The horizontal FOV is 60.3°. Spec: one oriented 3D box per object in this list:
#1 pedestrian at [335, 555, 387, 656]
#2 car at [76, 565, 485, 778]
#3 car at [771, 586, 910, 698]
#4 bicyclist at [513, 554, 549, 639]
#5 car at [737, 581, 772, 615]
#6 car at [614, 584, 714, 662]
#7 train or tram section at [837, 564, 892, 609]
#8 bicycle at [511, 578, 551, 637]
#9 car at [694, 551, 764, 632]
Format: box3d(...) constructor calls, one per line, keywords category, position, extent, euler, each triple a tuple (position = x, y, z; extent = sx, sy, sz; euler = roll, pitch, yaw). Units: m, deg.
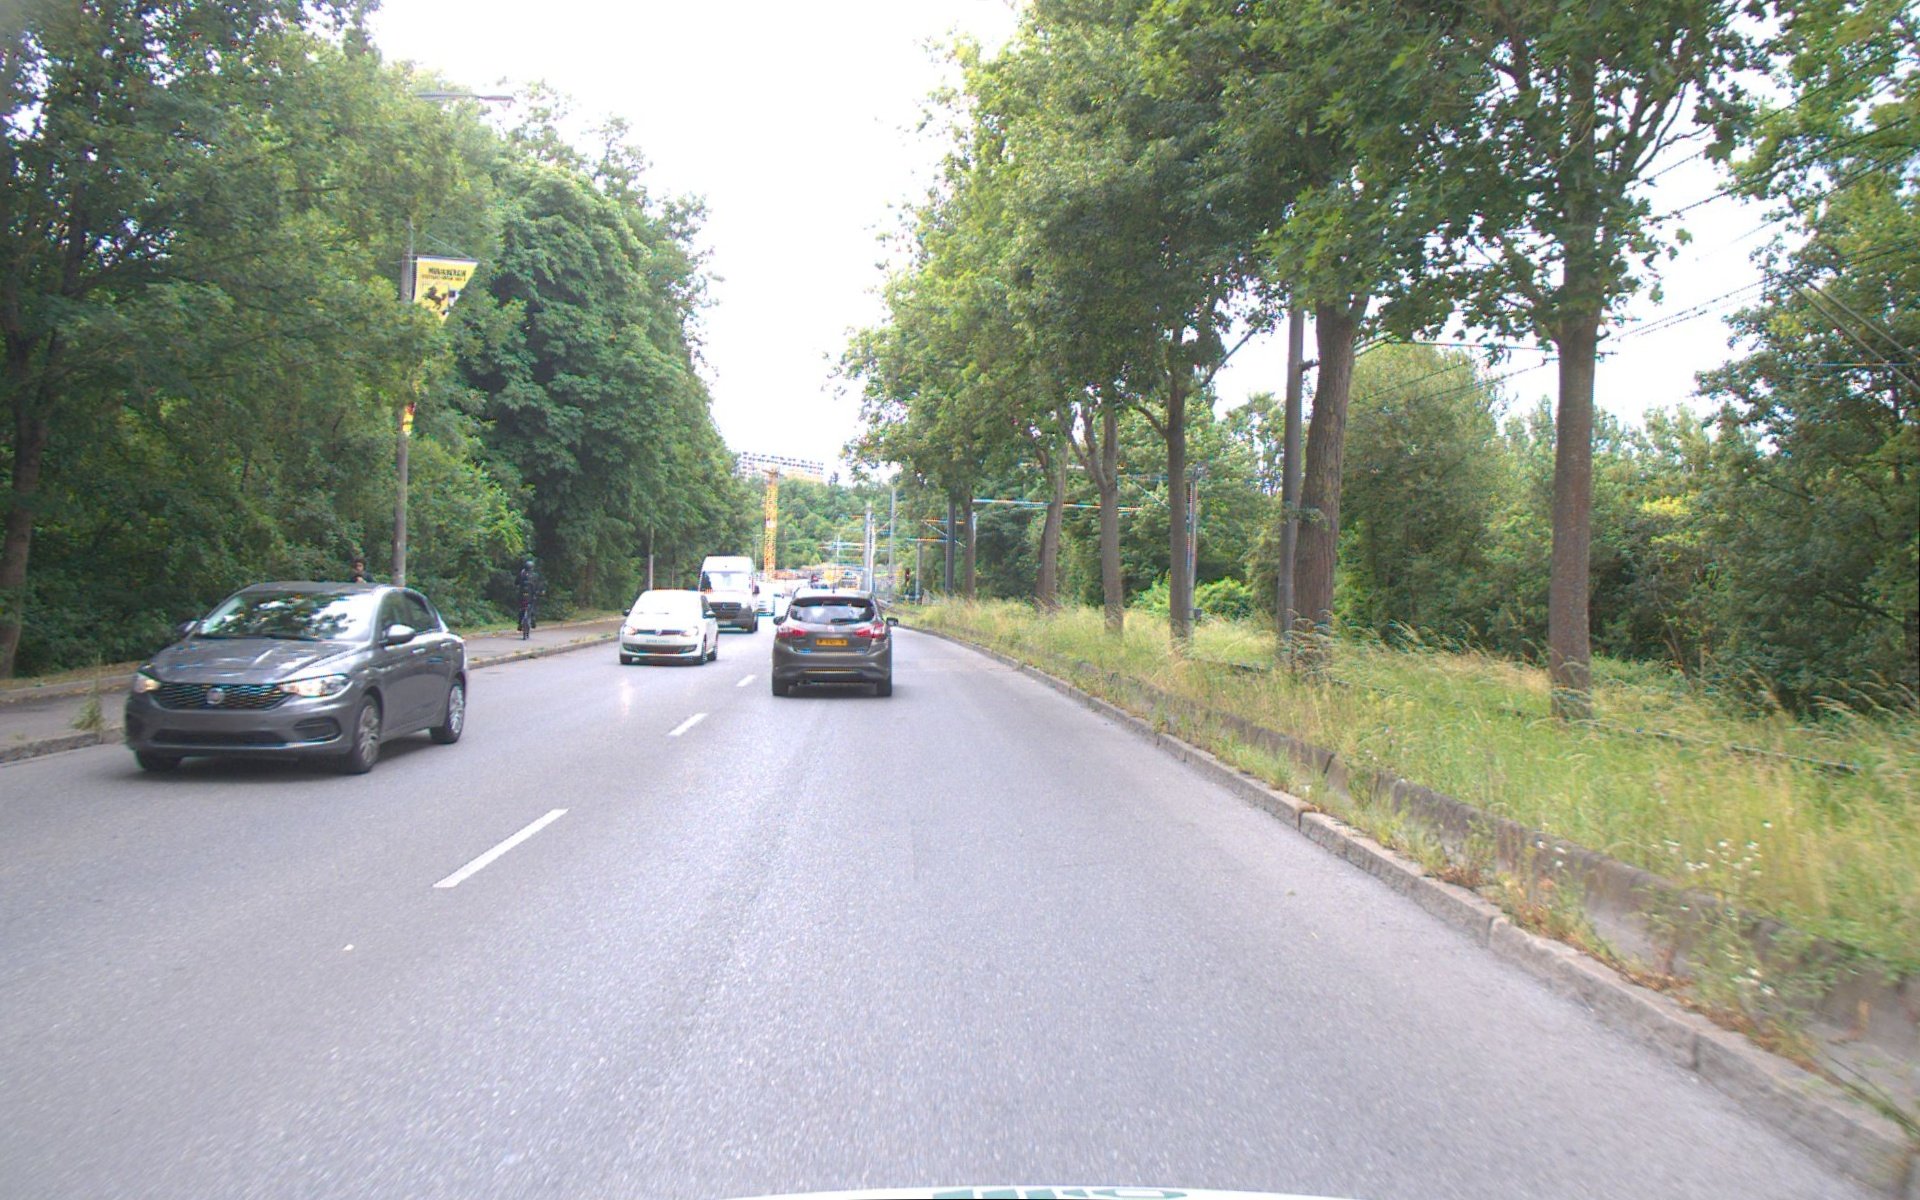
box3d(category="pedestrian", position=(-10.662, 0.091, 29.450), extent=(0.587, 1.744, 0.814), euler=(3, 0, -4))
box3d(category="car", position=(-5.565, 0.535, 14.222), extent=(1.954, 1.531, 4.276), euler=(1, 0, -4))
box3d(category="car", position=(-1.890, 0.570, 25.090), extent=(1.796, 1.536, 3.992), euler=(0, 0, -9))
box3d(category="bicyclist", position=(-10.298, -0.091, 39.719), extent=(0.674, 1.982, 0.834), euler=(3, -1, -10))
box3d(category="car", position=(-11.315, -0.115, 91.294), extent=(1.820, 1.830, 4.551), euler=(0, 0, -6))
box3d(category="car", position=(-5.932, 0.442, 33.501), extent=(1.691, 1.453, 3.994), euler=(1, 0, -6))
box3d(category="train or tram section", position=(-13.556, -1.720, 231.791), extent=(2.978, 5.273, 22.961), euler=(3, -2, -15))
box3d(category="bicycle", position=(-10.356, 0.159, 39.975), extent=(0.686, 1.354, 2.275), euler=(3, 0, -10))
box3d(category="car", position=(-7.991, -0.312, 57.732), extent=(1.954, 2.672, 5.890), euler=(0, 0, -4))
